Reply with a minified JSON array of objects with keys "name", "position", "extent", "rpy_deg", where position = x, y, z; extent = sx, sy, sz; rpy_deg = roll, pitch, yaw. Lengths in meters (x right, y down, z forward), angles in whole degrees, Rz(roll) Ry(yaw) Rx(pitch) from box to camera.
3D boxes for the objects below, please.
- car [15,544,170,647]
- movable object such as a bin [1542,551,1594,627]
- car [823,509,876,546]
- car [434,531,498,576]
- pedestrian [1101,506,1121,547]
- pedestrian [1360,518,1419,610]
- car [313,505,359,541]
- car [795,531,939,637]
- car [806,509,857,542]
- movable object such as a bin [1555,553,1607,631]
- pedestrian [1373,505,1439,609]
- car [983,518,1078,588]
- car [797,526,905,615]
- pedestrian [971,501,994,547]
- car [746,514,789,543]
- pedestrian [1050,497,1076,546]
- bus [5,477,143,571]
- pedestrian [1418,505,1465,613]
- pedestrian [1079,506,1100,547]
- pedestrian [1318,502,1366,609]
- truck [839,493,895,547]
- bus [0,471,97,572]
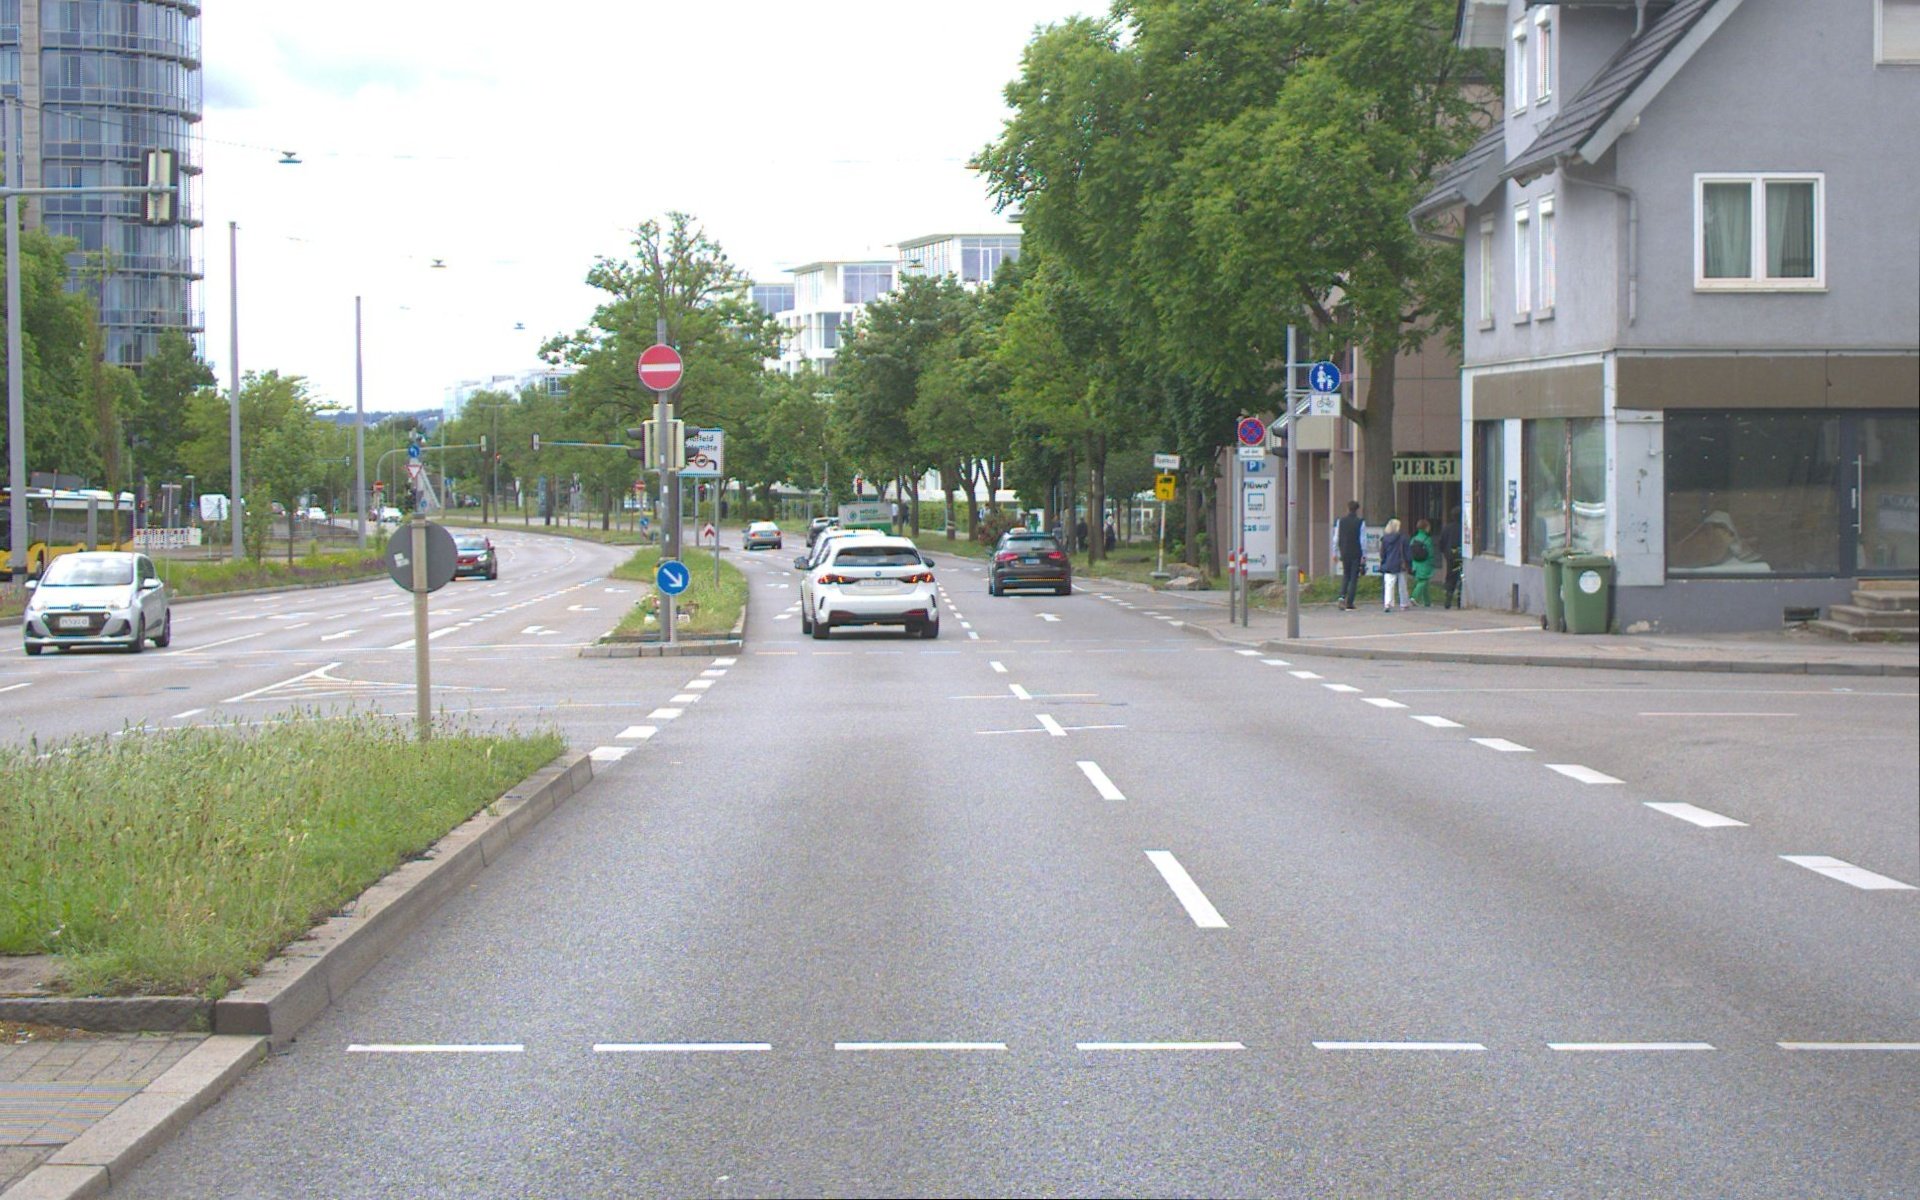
[{"name":"car","position":[-12.807,-0.091,50.930],"extent":[1.684,1.457,3.556],"rpy_deg":[-1,1,-5]},{"name":"movable object such as a bin","position":[7.928,-0.146,44.844],"extent":[0.529,0.976,0.736],"rpy_deg":[-1,1,-1]},{"name":"car","position":[-5.311,-3.481,165.071],"extent":[2.251,1.751,4.934],"rpy_deg":[-1,1,-5]},{"name":"car","position":[-16.731,-1.571,116.605],"extent":[1.702,1.487,3.562],"rpy_deg":[-1,1,-1]},{"name":"pedestrian","position":[5.767,-2.801,131.228],"extent":[0.650,1.564,0.671],"rpy_deg":[-1,1,-8]},{"name":"pedestrian","position":[7.102,-0.593,56.863],"extent":[0.706,1.502,0.869],"rpy_deg":[0,1,27]},{"name":"car","position":[-36.335,-4.467,200.267],"extent":[1.965,2.007,4.000],"rpy_deg":[1,1,-1]},{"name":"car","position":[-1.318,-0.259,50.358],"extent":[1.993,1.472,4.256],"rpy_deg":[-1,1,0]},{"name":"car","position":[-6.507,-3.745,173.865],"extent":[2.250,1.641,4.934],"rpy_deg":[-1,1,-5]},{"name":"movable object such as a bin","position":[7.957,-0.104,44.054],"extent":[0.529,0.976,0.736],"rpy_deg":[-1,1,-1]},{"name":"pedestrian","position":[7.694,-0.752,59.354],"extent":[0.867,1.773,0.707],"rpy_deg":[-1,1,-27]},{"name":"car","position":[1.551,-1.037,77.321],"extent":[1.889,1.489,4.099],"rpy_deg":[-1,0,-2]},{"name":"car","position":[-1.943,-0.557,62.275],"extent":[1.822,1.535,4.114],"rpy_deg":[-1,1,0]},{"name":"pedestrian","position":[1.124,-3.777,171.024],"extent":[0.930,2.300,1.011],"rpy_deg":[1,0,-10]},{"name":"car","position":[-9.692,-3.600,173.157],"extent":[1.967,1.415,4.023],"rpy_deg":[-1,1,-5]},{"name":"pedestrian","position":[4.287,-3.264,143.197],"extent":[0.971,2.007,0.981],"rpy_deg":[1,0,-1]},{"name":"bus","position":[-31.737,-2.712,123.475],"extent":[3.144,3.214,7.766],"rpy_deg":[-1,1,-2]},{"name":"pedestrian","position":[7.947,-0.685,56.695],"extent":[0.705,1.754,1.052],"rpy_deg":[0,1,11]},{"name":"pedestrian","position":[4.946,-2.796,131.198],"extent":[0.650,1.564,0.671],"rpy_deg":[-1,1,-8]},{"name":"pedestrian","position":[6.390,-0.749,57.453],"extent":[0.705,1.773,0.870],"rpy_deg":[-1,1,11]},{"name":"truck","position":[-4.266,-3.648,156.474],"extent":[2.251,2.408,4.934],"rpy_deg":[0,1,-5]},{"name":"bus","position":[-31.398,-2.570,114.471],"extent":[3.144,3.214,10.286],"rpy_deg":[-1,1,-3]}]
